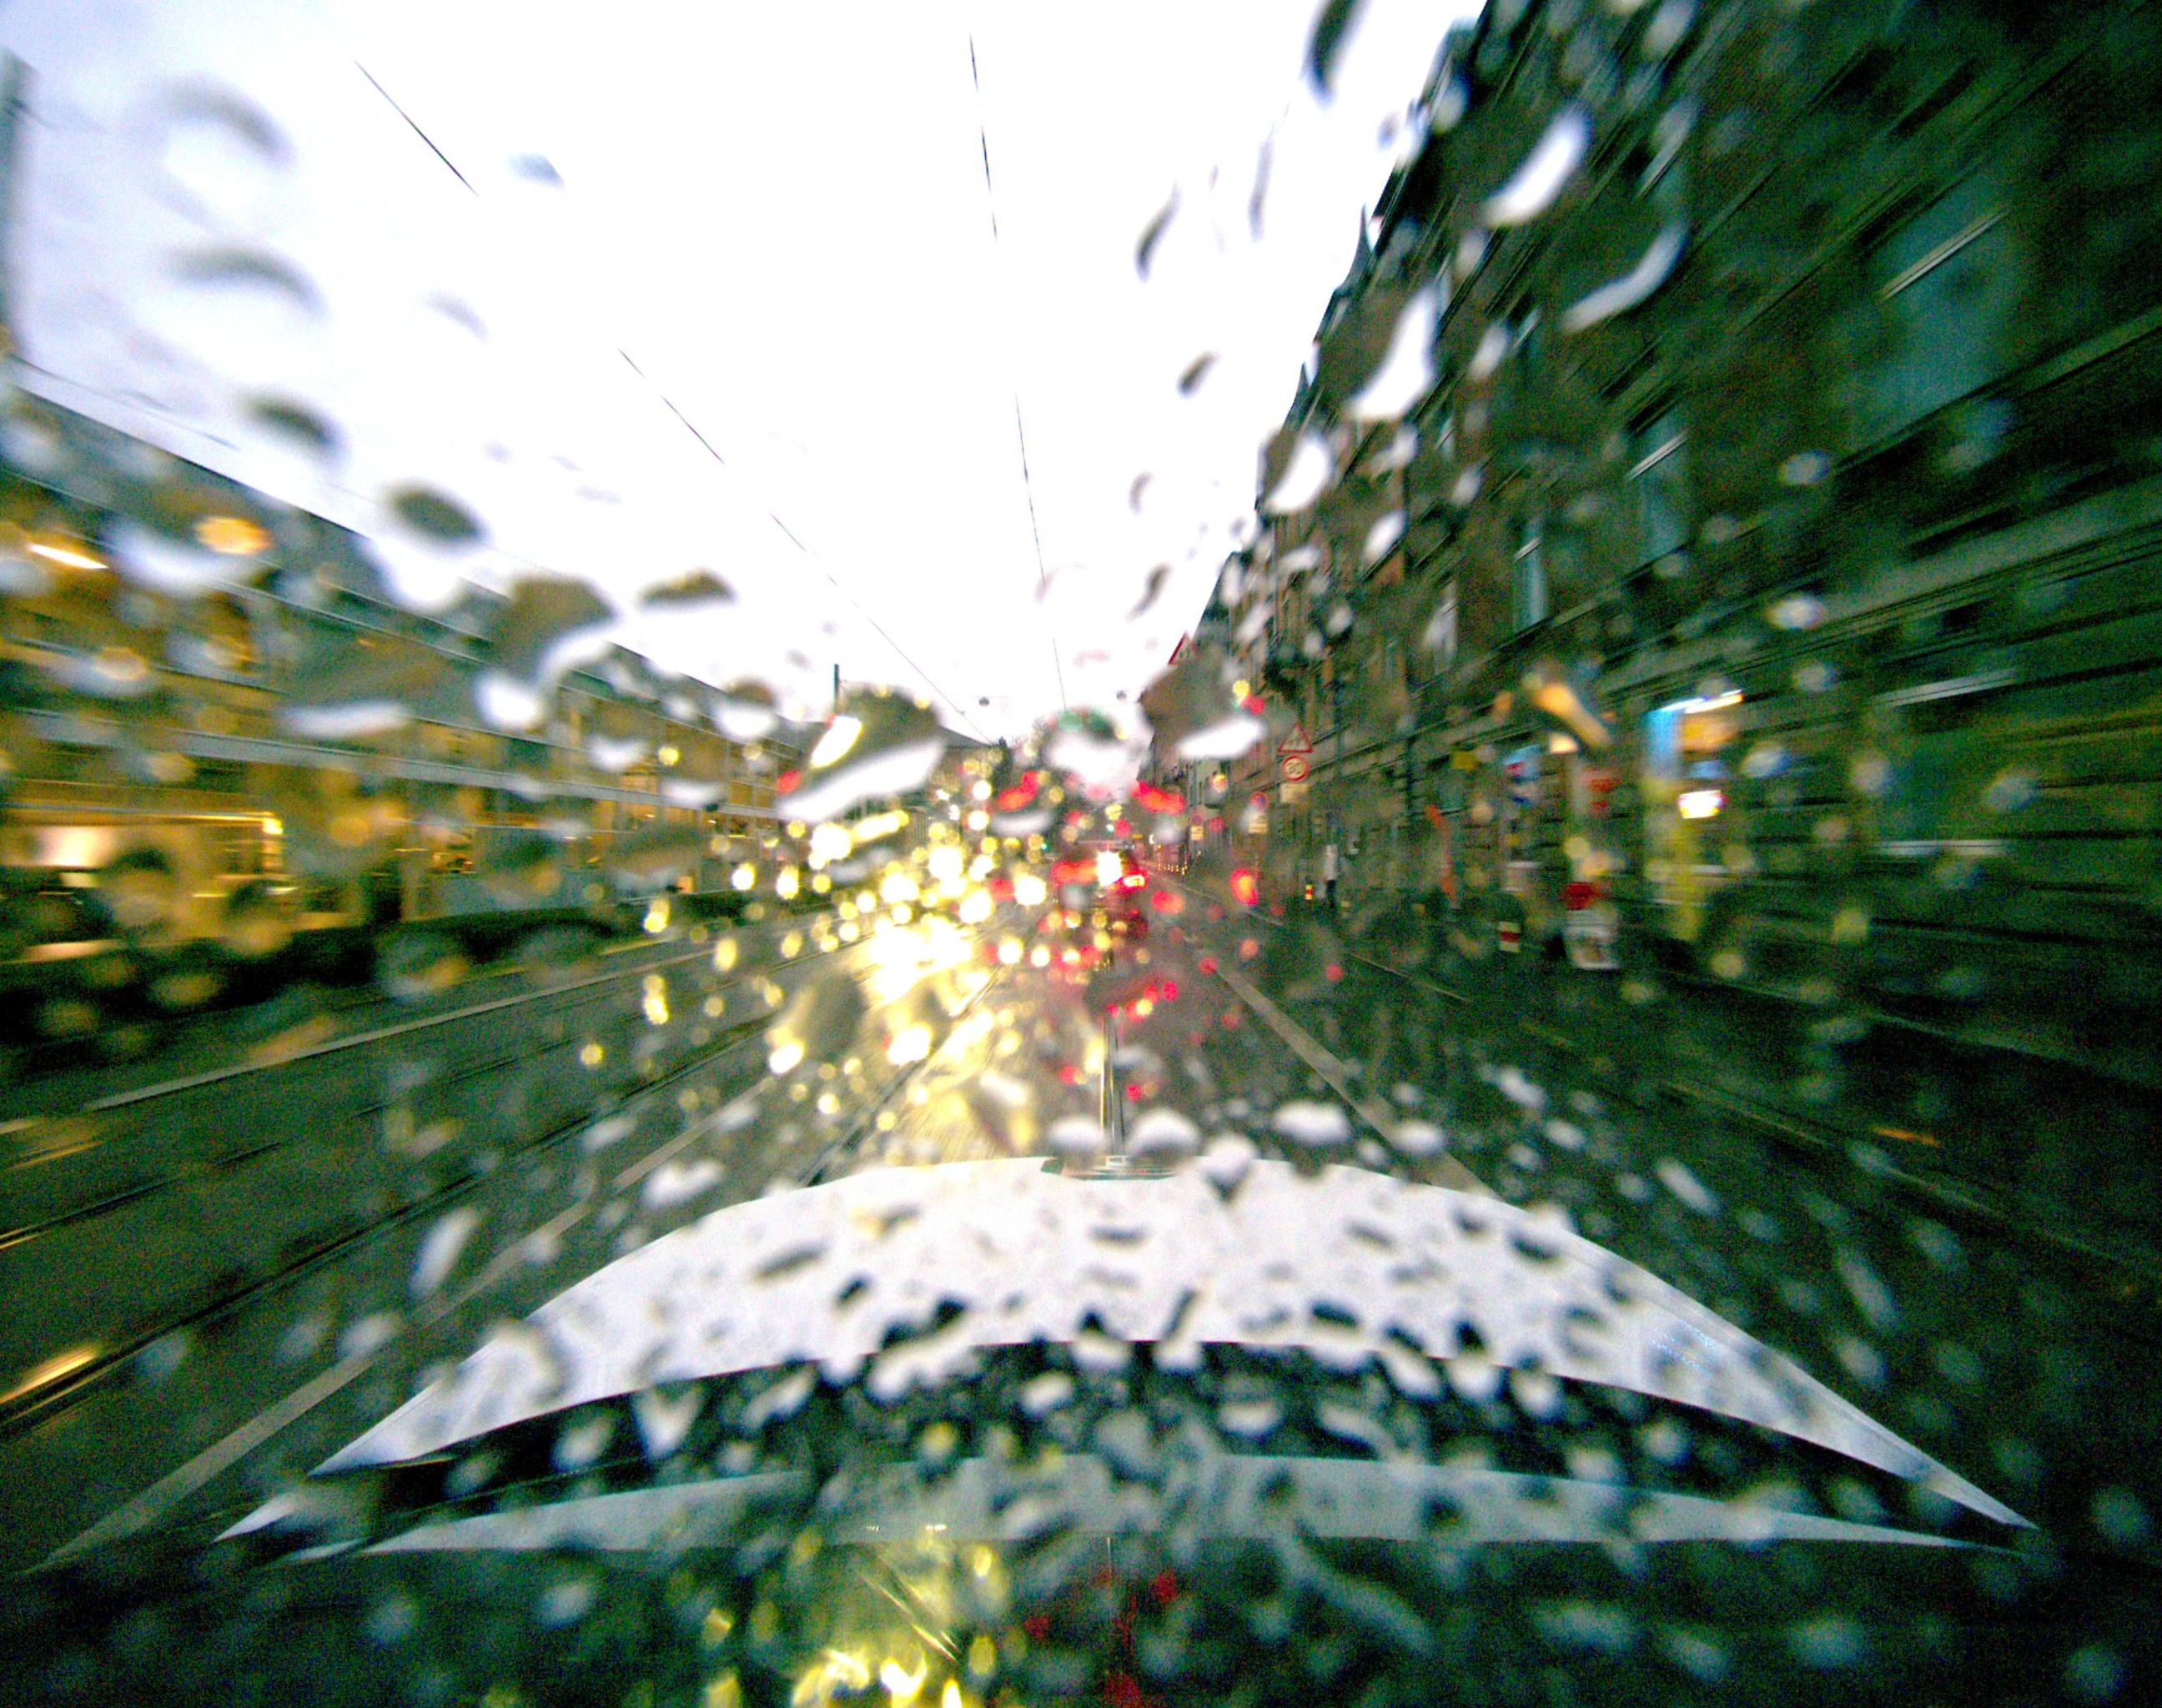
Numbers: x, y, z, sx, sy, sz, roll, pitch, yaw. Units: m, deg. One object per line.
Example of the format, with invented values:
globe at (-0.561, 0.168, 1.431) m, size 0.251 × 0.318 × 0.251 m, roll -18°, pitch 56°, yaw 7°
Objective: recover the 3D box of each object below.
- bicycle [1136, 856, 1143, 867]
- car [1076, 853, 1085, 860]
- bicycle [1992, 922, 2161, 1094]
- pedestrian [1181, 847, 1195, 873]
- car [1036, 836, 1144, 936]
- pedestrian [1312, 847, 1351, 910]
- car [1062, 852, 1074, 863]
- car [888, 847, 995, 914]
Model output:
bicycle at (6.490, 0.838, 90.968) m, size 0.681 × 1.156 × 2.189 m, roll 0°, pitch -1°, yaw 2°
car at (-0.107, 0.489, 160.295) m, size 1.524 × 1.481 × 3.562 m, roll 0°, pitch 0°, yaw 2°
bicycle at (6.429, 0.926, 4.651) m, size 0.396 × 0.911 × 1.867 m, roll -1°, pitch 0°, yaw 1°
pedestrian at (7.564, 0.431, 57.559) m, size 0.601 × 1.818 × 0.769 m, roll 1°, pitch -1°, yaw -26°
car at (0.310, 0.594, 16.964) m, size 1.984 × 1.842 × 4.005 m, roll 0°, pitch 0°, yaw 4°
pedestrian at (6.500, 0.616, 21.157) m, size 0.783 × 1.597 × 0.742 m, roll -1°, pitch 0°, yaw 2°
car at (-2.114, 0.512, 132.985) m, size 1.869 × 1.710 × 4.761 m, roll -1°, pitch 0°, yaw 1°
car at (-3.580, 0.636, 21.695) m, size 1.833 × 1.578 × 4.446 m, roll -1°, pitch 0°, yaw 3°
